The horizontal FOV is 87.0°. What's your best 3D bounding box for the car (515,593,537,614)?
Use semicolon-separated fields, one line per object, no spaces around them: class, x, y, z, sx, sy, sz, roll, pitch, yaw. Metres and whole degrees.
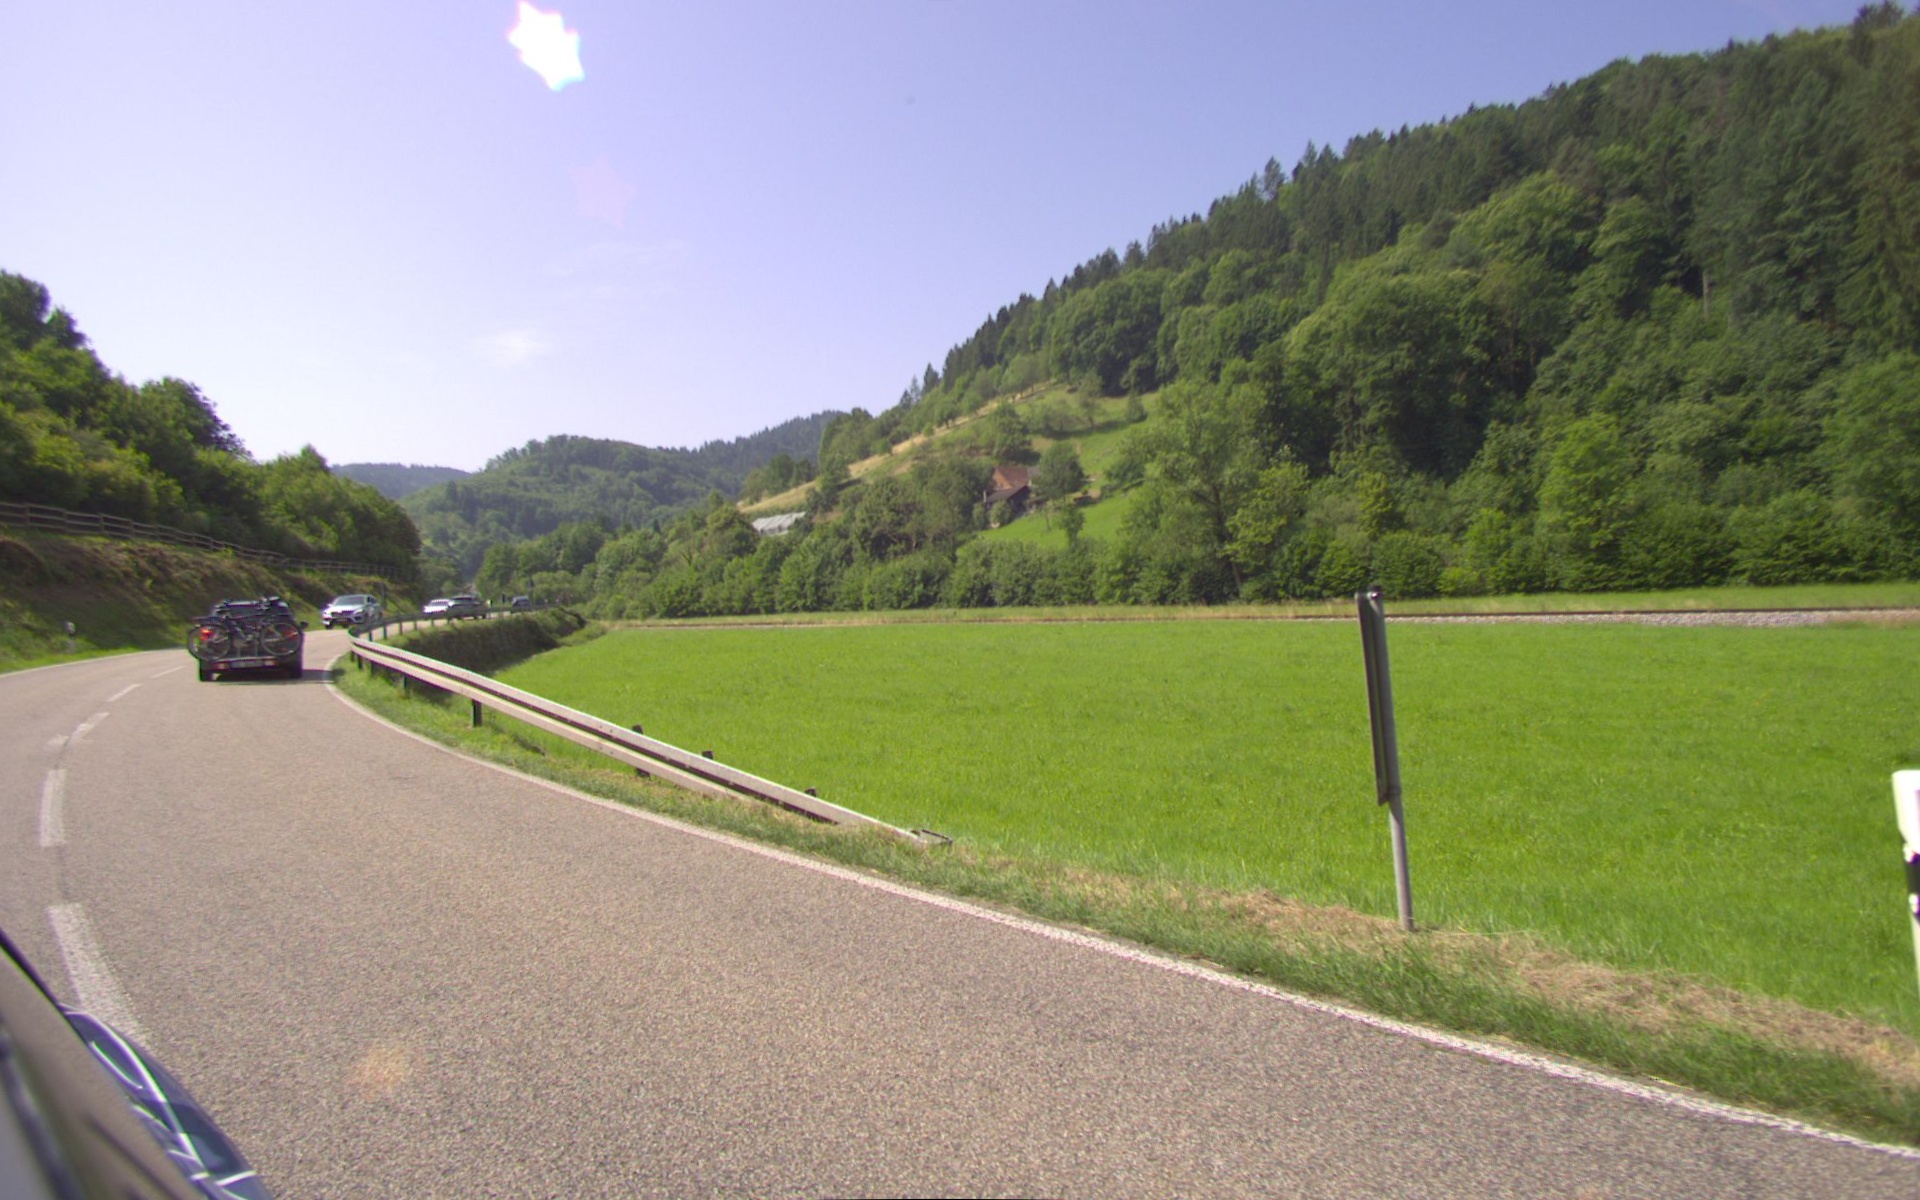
car;-43.843;0.332;102.318;1.965;2.029;4.013;-1;1;-22

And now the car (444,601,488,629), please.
car;-32.406;0.977;66.423;1.685;1.687;4.011;-3;1;-13

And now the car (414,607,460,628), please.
car;-37.886;1.243;73.372;2.111;1.502;4.686;0;0;-16

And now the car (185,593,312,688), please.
car;-14.785;0.810;21.134;1.923;1.753;4.908;1;-2;-34

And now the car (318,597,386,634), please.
car;-32.840;0.862;54.809;2.083;1.828;4.468;-2;-1;-16
